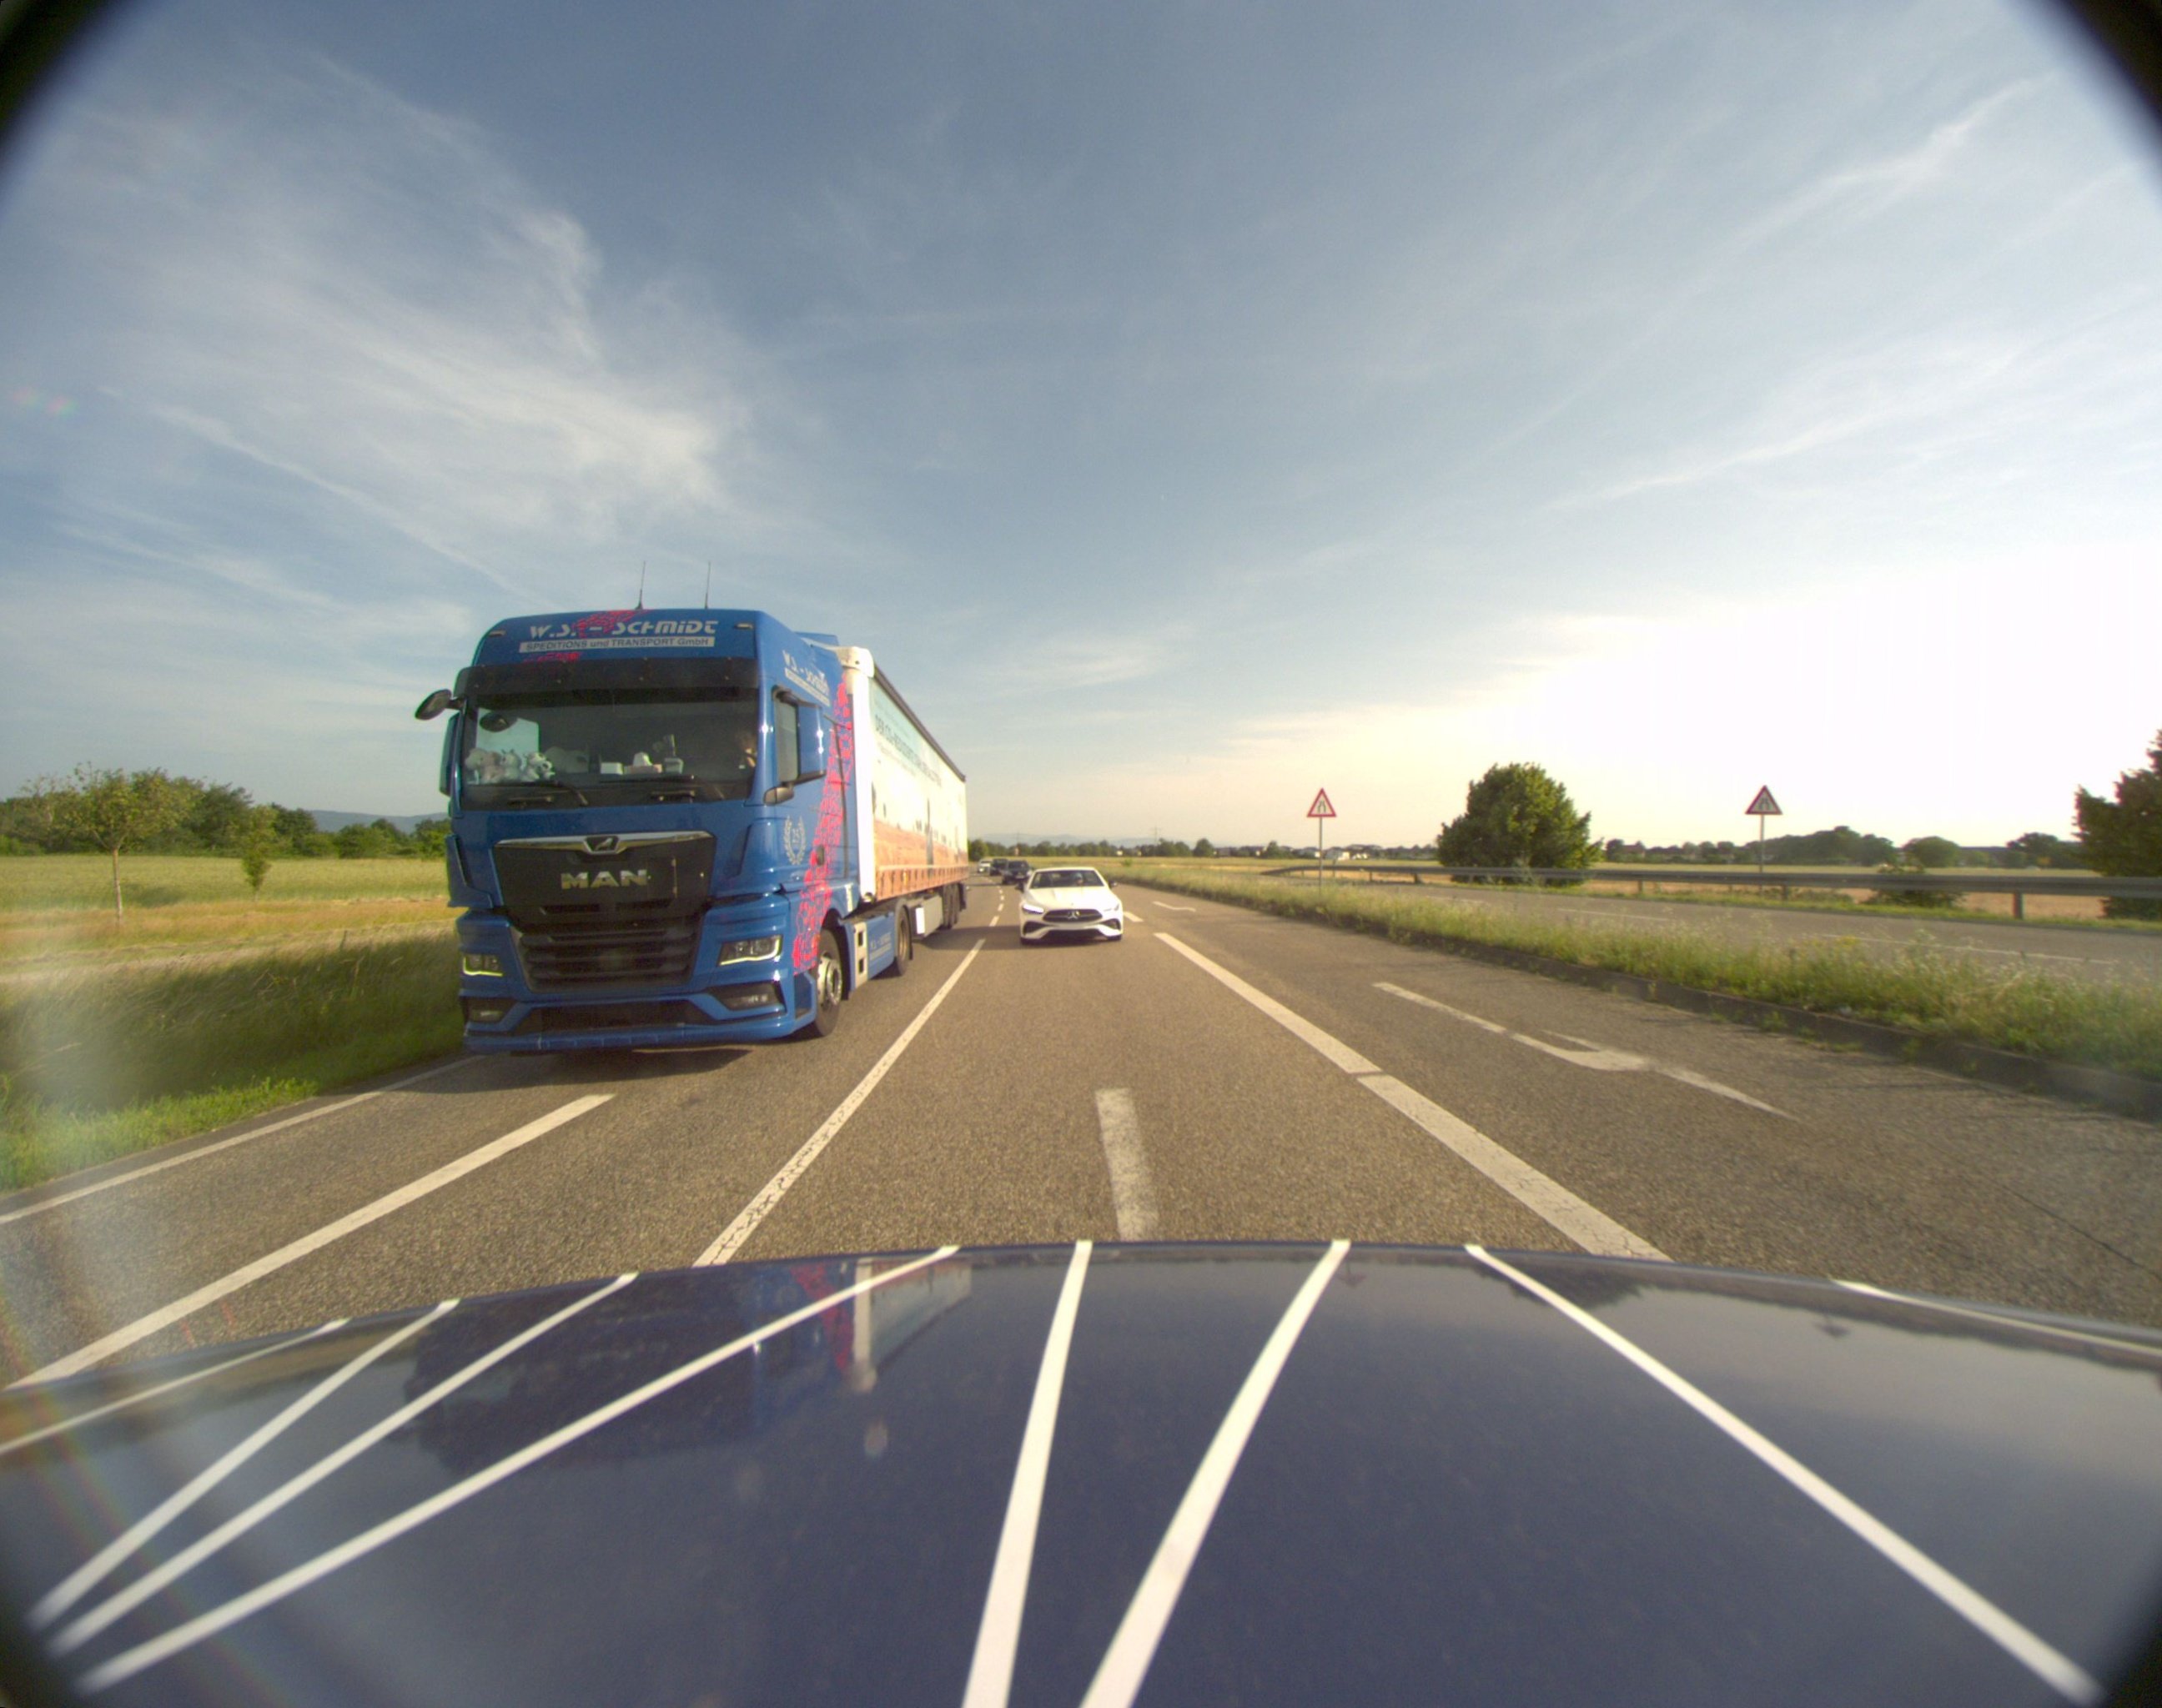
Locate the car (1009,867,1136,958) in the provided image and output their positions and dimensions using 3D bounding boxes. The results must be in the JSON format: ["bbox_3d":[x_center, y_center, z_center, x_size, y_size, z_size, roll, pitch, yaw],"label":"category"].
[{"bbox_3d":[-0.316,1.024,14.885,1.942,1.389,3.915,-2,0,-8],"label":"car"}]

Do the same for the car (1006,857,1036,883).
[{"bbox_3d":[-3.681,0.960,46.425,1.586,1.496,3.658,-1,0,-8],"label":"car"}]

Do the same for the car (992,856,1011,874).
[{"bbox_3d":[-7.136,0.933,67.985,1.558,1.550,3.046,-1,0,-8],"label":"car"}]

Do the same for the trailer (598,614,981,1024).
[{"bbox_3d":[-4.193,-0.479,15.342,3.291,4.654,13.141,-2,1,-4],"label":"trailer"}]

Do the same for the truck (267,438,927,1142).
[{"bbox_3d":[-3.767,-0.467,7.970,3.309,4.630,5.729,-2,1,-4],"label":"truck"}]

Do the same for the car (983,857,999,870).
[{"bbox_3d":[-9.787,0.988,82.433,1.558,1.392,4.032,-1,0,-8],"label":"car"}]
